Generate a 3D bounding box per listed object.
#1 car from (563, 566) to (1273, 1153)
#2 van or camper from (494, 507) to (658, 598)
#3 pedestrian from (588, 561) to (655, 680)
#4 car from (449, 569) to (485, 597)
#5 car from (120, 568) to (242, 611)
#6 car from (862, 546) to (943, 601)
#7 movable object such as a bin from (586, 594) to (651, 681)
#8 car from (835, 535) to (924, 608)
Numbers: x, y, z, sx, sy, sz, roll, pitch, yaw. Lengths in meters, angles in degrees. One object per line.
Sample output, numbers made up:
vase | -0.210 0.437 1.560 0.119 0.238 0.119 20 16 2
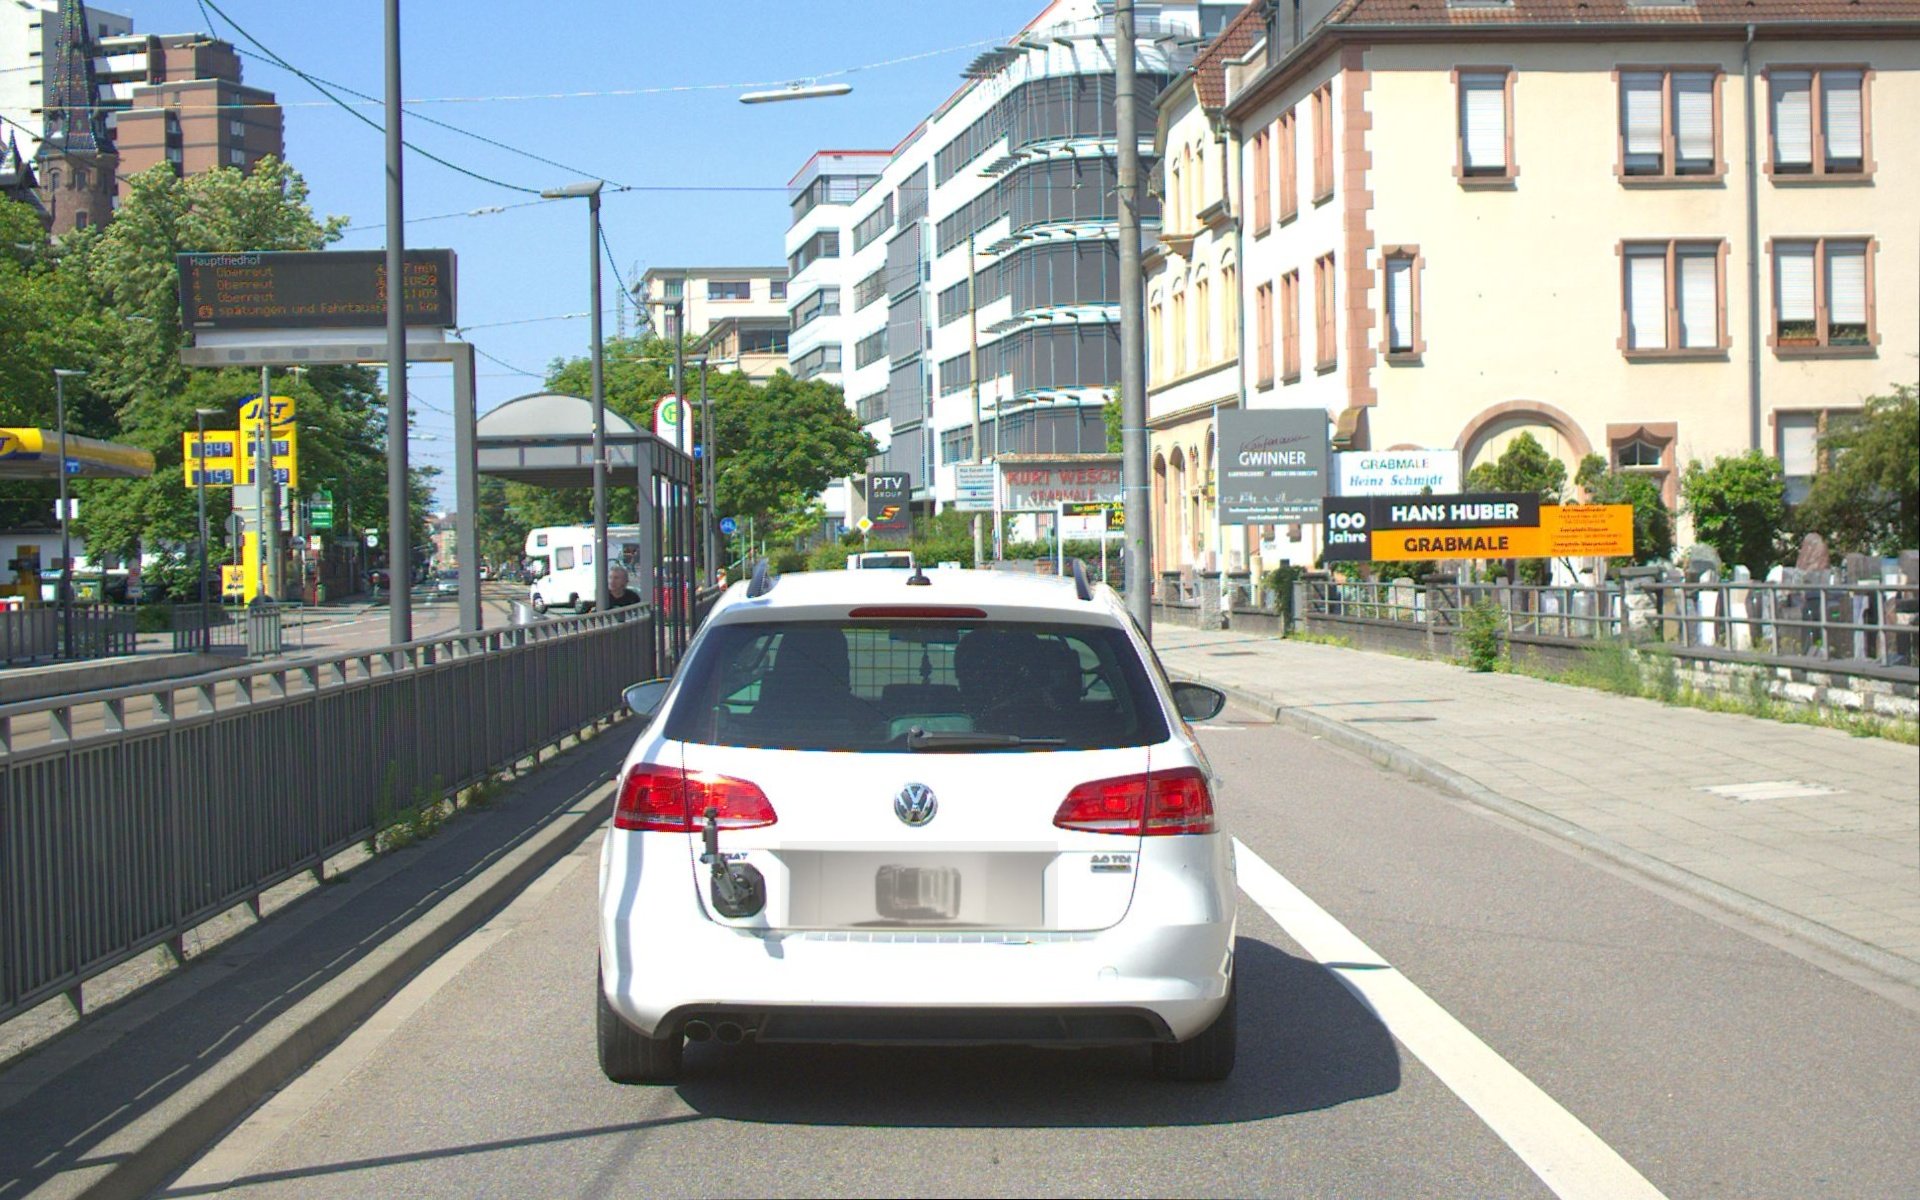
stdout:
car | -0.166 0.626 10.761 1.753 1.437 4.413 1 1 -2
van or camper | -13.201 -1.650 117.749 2.608 2.957 6.712 2 0 -35
pedestrian | -3.627 0.213 36.873 0.629 1.250 0.710 -2 1 -2
car | -29.298 -1.018 204.534 1.746 1.566 3.892 -2 0 -3
car | -31.217 -0.434 137.880 1.947 1.619 4.569 -1 1 36
car | -1.640 -0.734 97.123 1.721 1.438 4.313 -3 1 -8
movable object such as a bin | -3.601 0.393 36.280 0.629 0.897 0.489 -2 1 -2
car | -2.456 -0.850 102.997 1.976 2.047 5.192 -3 1 -8
